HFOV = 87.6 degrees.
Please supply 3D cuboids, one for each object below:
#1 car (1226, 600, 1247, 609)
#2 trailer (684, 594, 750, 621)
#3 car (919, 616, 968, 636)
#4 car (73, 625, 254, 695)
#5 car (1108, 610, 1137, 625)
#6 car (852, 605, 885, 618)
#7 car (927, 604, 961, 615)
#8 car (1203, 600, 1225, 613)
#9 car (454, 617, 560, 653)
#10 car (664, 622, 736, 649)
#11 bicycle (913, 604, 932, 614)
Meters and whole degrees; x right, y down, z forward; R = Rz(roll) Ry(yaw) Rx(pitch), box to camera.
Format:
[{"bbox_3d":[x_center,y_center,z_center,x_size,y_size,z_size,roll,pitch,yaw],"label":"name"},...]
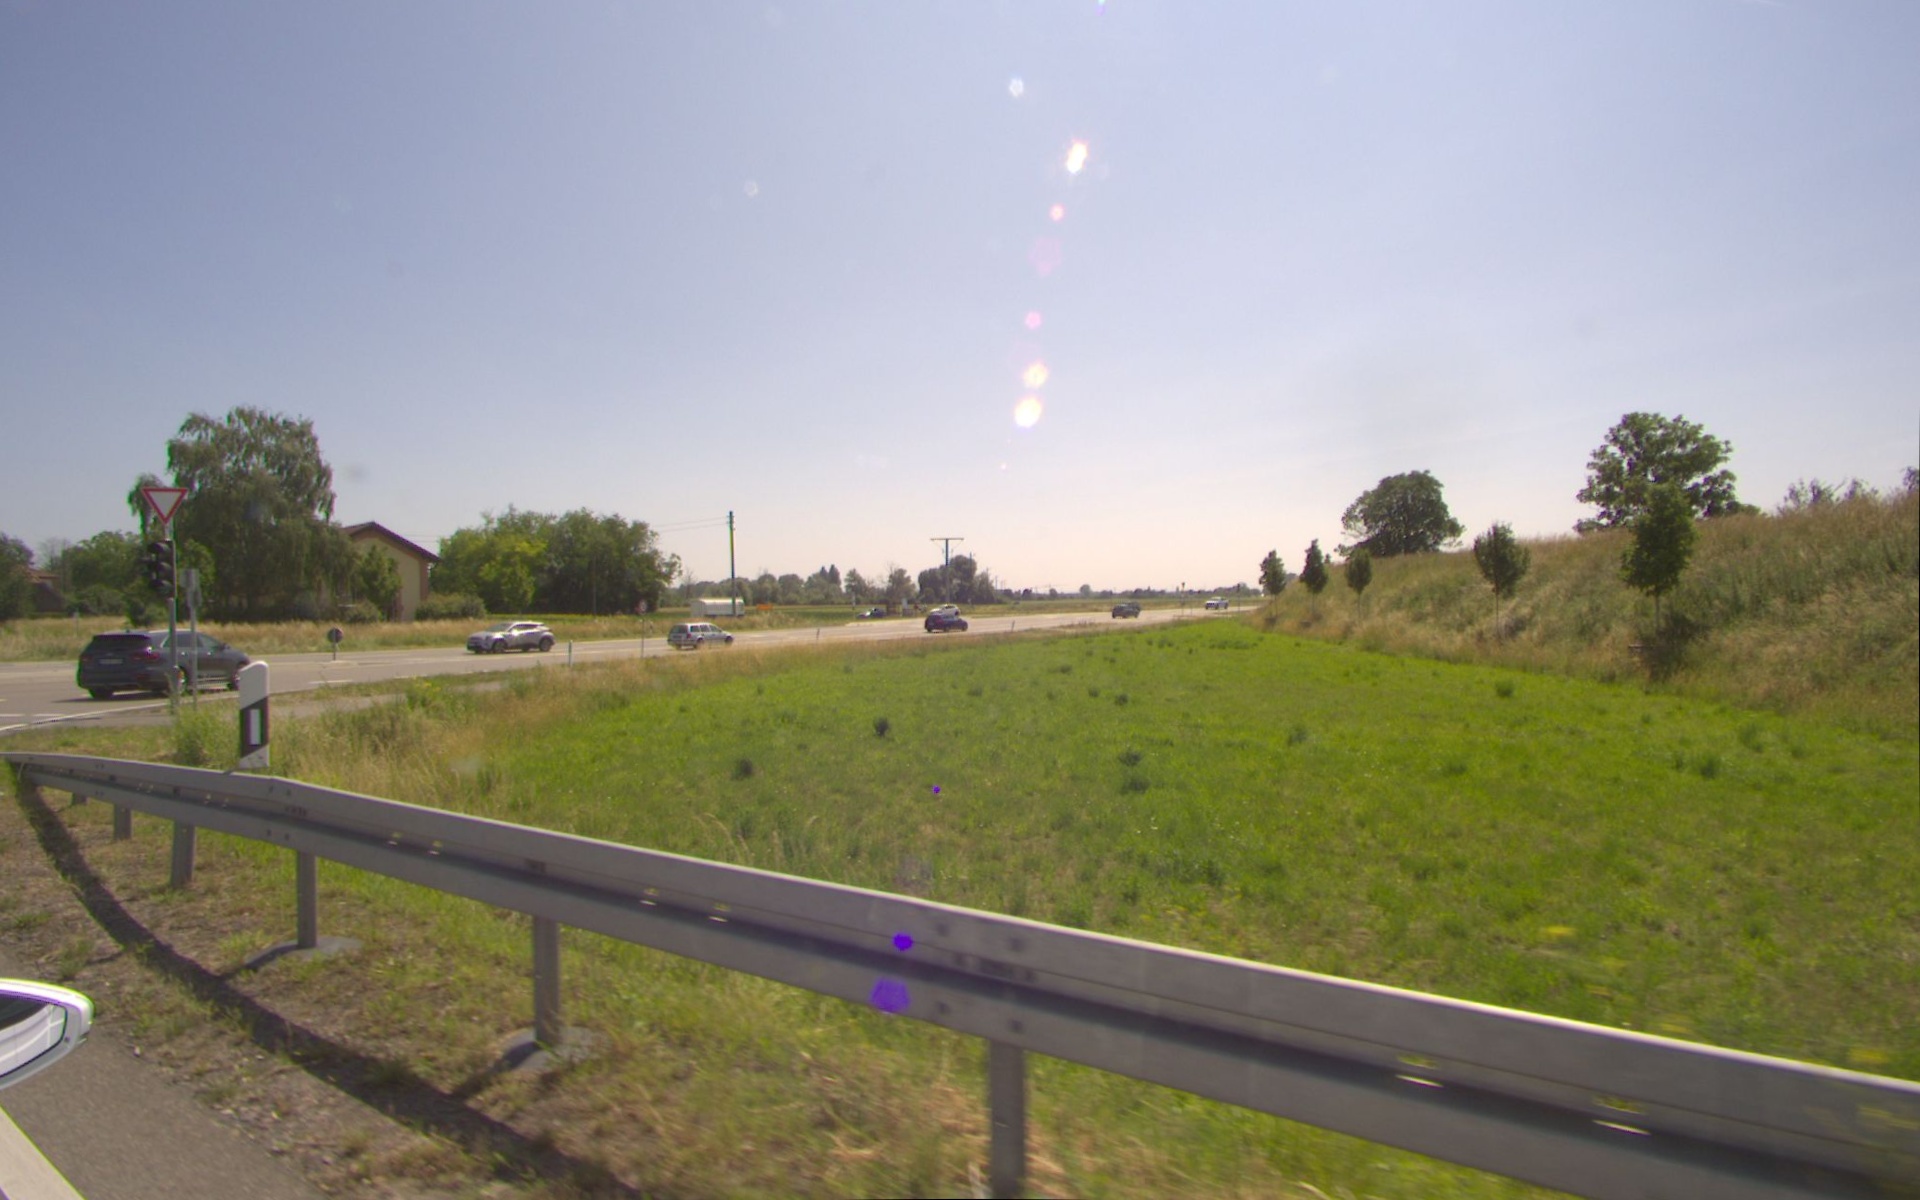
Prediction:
[{"bbox_3d":[43.373,0.676,157.133,2.056,1.344,4.394,-1,-2,31],"label":"car"},{"bbox_3d":[-24.163,0.712,99.967,2.649,2.489,6.345,1,1,34],"label":"trailer"},{"bbox_3d":[-1.255,2.048,79.602,1.780,1.495,4.392,-1,-2,32],"label":"car"},{"bbox_3d":[-20.487,1.500,26.014,1.905,1.637,4.376,0,-2,-12],"label":"car"},{"bbox_3d":[18.009,1.942,110.803,1.780,1.541,3.863,-1,-2,32],"label":"car"},{"bbox_3d":[-10.452,1.336,114.607,1.657,1.405,3.812,1,0,37],"label":"car"},{"bbox_3d":[-1.950,1.170,125.112,3.983,1.350,1.686,1,1,-33],"label":"car"},{"bbox_3d":[35.975,0.894,141.709,1.855,1.672,4.823,1,1,28],"label":"car"},{"bbox_3d":[-22.413,1.700,49.721,1.846,1.564,4.522,1,1,35],"label":"car"},{"bbox_3d":[-14.387,1.976,55.619,1.775,1.447,4.085,-2,-2,21],"label":"car"},{"bbox_3d":[-5.205,1.234,138.781,2.571,1.389,0.901,-2,-2,19],"label":"bicycle"}]
